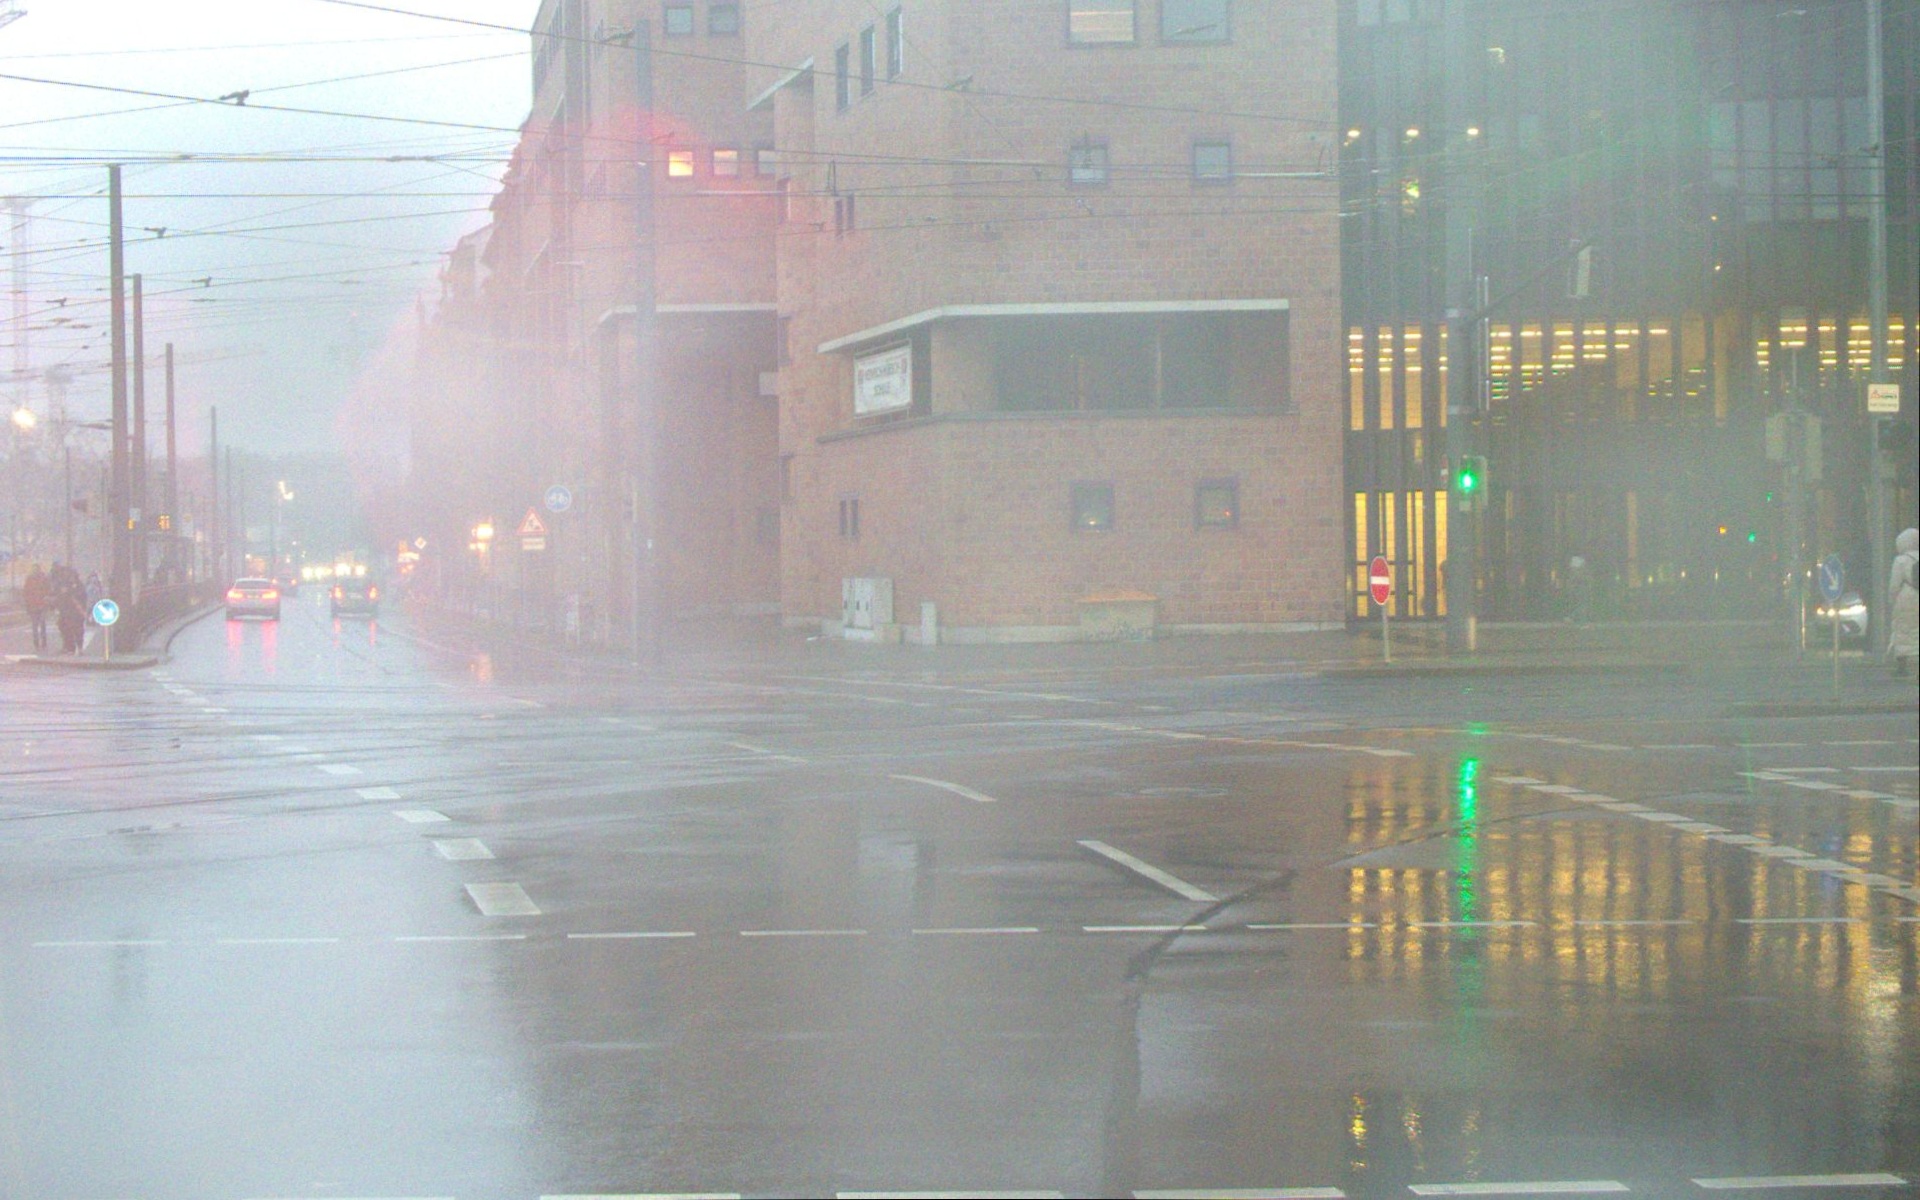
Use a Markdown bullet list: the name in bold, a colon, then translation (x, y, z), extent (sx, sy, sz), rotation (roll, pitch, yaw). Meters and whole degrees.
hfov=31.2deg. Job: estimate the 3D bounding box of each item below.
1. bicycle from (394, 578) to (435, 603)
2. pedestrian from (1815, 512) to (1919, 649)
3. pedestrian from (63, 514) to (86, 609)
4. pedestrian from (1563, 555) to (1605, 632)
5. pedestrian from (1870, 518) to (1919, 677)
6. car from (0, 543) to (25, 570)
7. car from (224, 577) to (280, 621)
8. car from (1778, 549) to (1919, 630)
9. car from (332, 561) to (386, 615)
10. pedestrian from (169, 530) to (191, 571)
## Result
- **bicycle**: translation (-24.199, -0.436, 152.528), extent (1.729, 1.051, 0.371), rotation (-2, 1, -12)
- **pedestrian**: translation (12.057, -0.261, 45.612), extent (1.148, 1.781, 0.778), rotation (-1, 1, -10)
- **pedestrian**: translation (-17.348, -0.756, 67.338), extent (0.412, 1.839, 0.670), rotation (0, 0, -16)
- **pedestrian**: translation (11.465, -0.125, 63.140), extent (0.737, 1.384, 0.737), rotation (-1, 1, 11)
- **pedestrian**: translation (10.841, -0.034, 38.959), extent (0.733, 1.781, 0.735), rotation (-1, 1, -14)
- **car**: translation (-48.917, -2.215, 176.183), extent (1.681, 1.349, 3.547), rotation (0, 0, -12)
- **car**: translation (-24.932, -0.047, 121.163), extent (1.783, 1.462, 3.149), rotation (-1, 1, -9)
- **car**: translation (15.756, -0.190, 56.762), extent (3.980, 1.305, 1.815), rotation (-1, 1, -8)
- **car**: translation (-23.330, -0.489, 133.522), extent (1.993, 2.007, 4.001), rotation (-1, 1, -9)
- **pedestrian**: translation (-29.034, -1.846, 127.935), extent (0.679, 1.511, 0.619), rotation (0, 1, -23)
